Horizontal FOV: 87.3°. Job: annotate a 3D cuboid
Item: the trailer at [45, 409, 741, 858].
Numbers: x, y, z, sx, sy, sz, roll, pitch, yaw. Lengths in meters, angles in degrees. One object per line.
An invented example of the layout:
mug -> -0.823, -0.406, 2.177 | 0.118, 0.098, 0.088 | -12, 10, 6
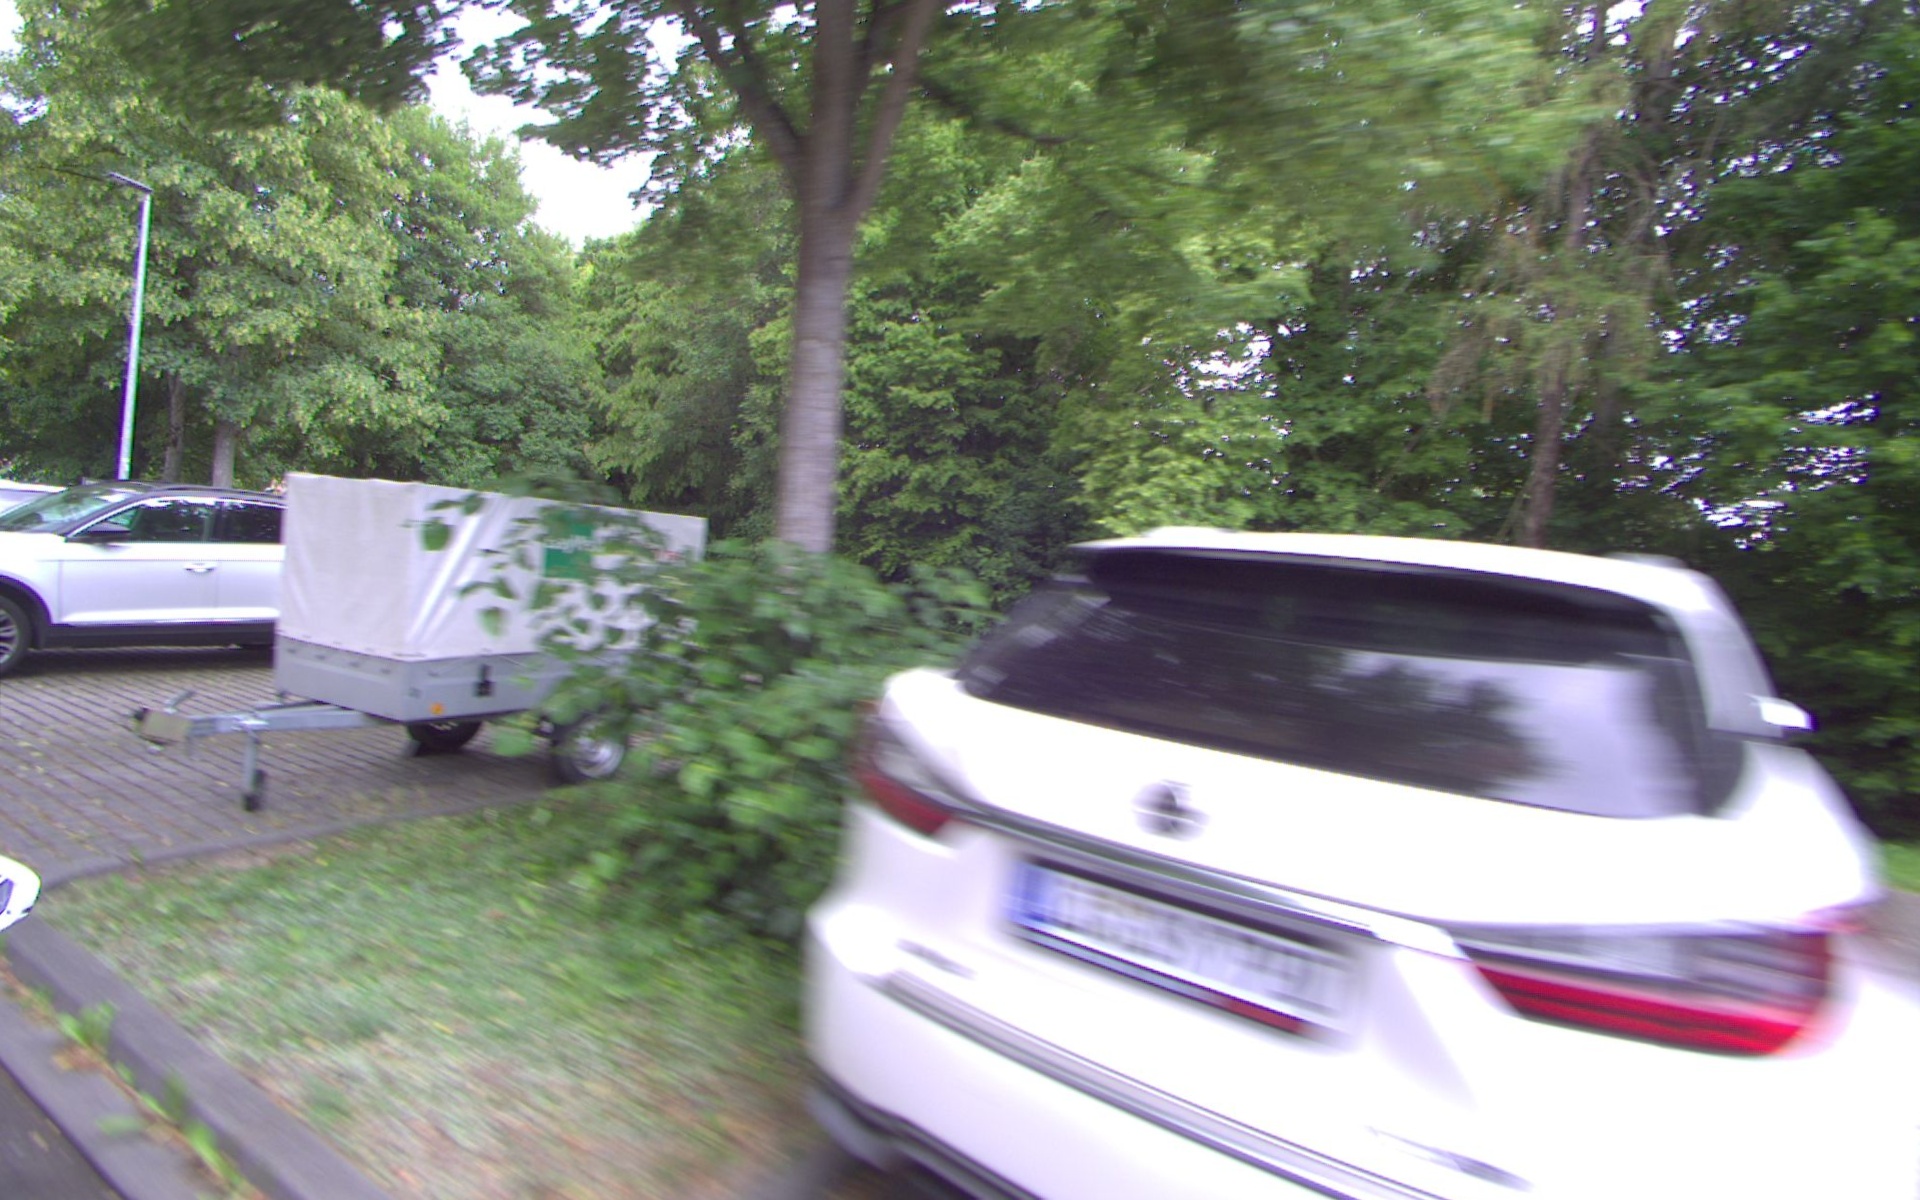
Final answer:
trailer -> -2.928, 0.117, 5.748 | 1.537, 1.814, 3.032 | 7, 2, 29

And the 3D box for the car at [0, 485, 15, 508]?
car -> -67.109, -7.304, 68.058 | 1.678, 1.446, 4.389 | 6, 0, 38

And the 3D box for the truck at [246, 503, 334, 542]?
truck -> -55.270, -6.399, 83.103 | 2.160, 2.456, 5.501 | 6, 0, 39

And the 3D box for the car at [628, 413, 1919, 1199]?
car -> 1.580, 0.722, 3.309 | 1.943, 1.715, 4.815 | 7, 2, 35

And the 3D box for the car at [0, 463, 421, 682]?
car -> -7.140, -0.248, 8.543 | 1.829, 1.568, 4.116 | 6, 2, 29

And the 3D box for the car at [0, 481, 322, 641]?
car -> -9.070, -0.413, 10.193 | 1.761, 1.440, 4.013 | 6, 1, 27

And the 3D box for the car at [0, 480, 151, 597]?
car -> -13.247, -0.912, 12.910 | 1.786, 1.440, 4.056 | 7, 2, 31
